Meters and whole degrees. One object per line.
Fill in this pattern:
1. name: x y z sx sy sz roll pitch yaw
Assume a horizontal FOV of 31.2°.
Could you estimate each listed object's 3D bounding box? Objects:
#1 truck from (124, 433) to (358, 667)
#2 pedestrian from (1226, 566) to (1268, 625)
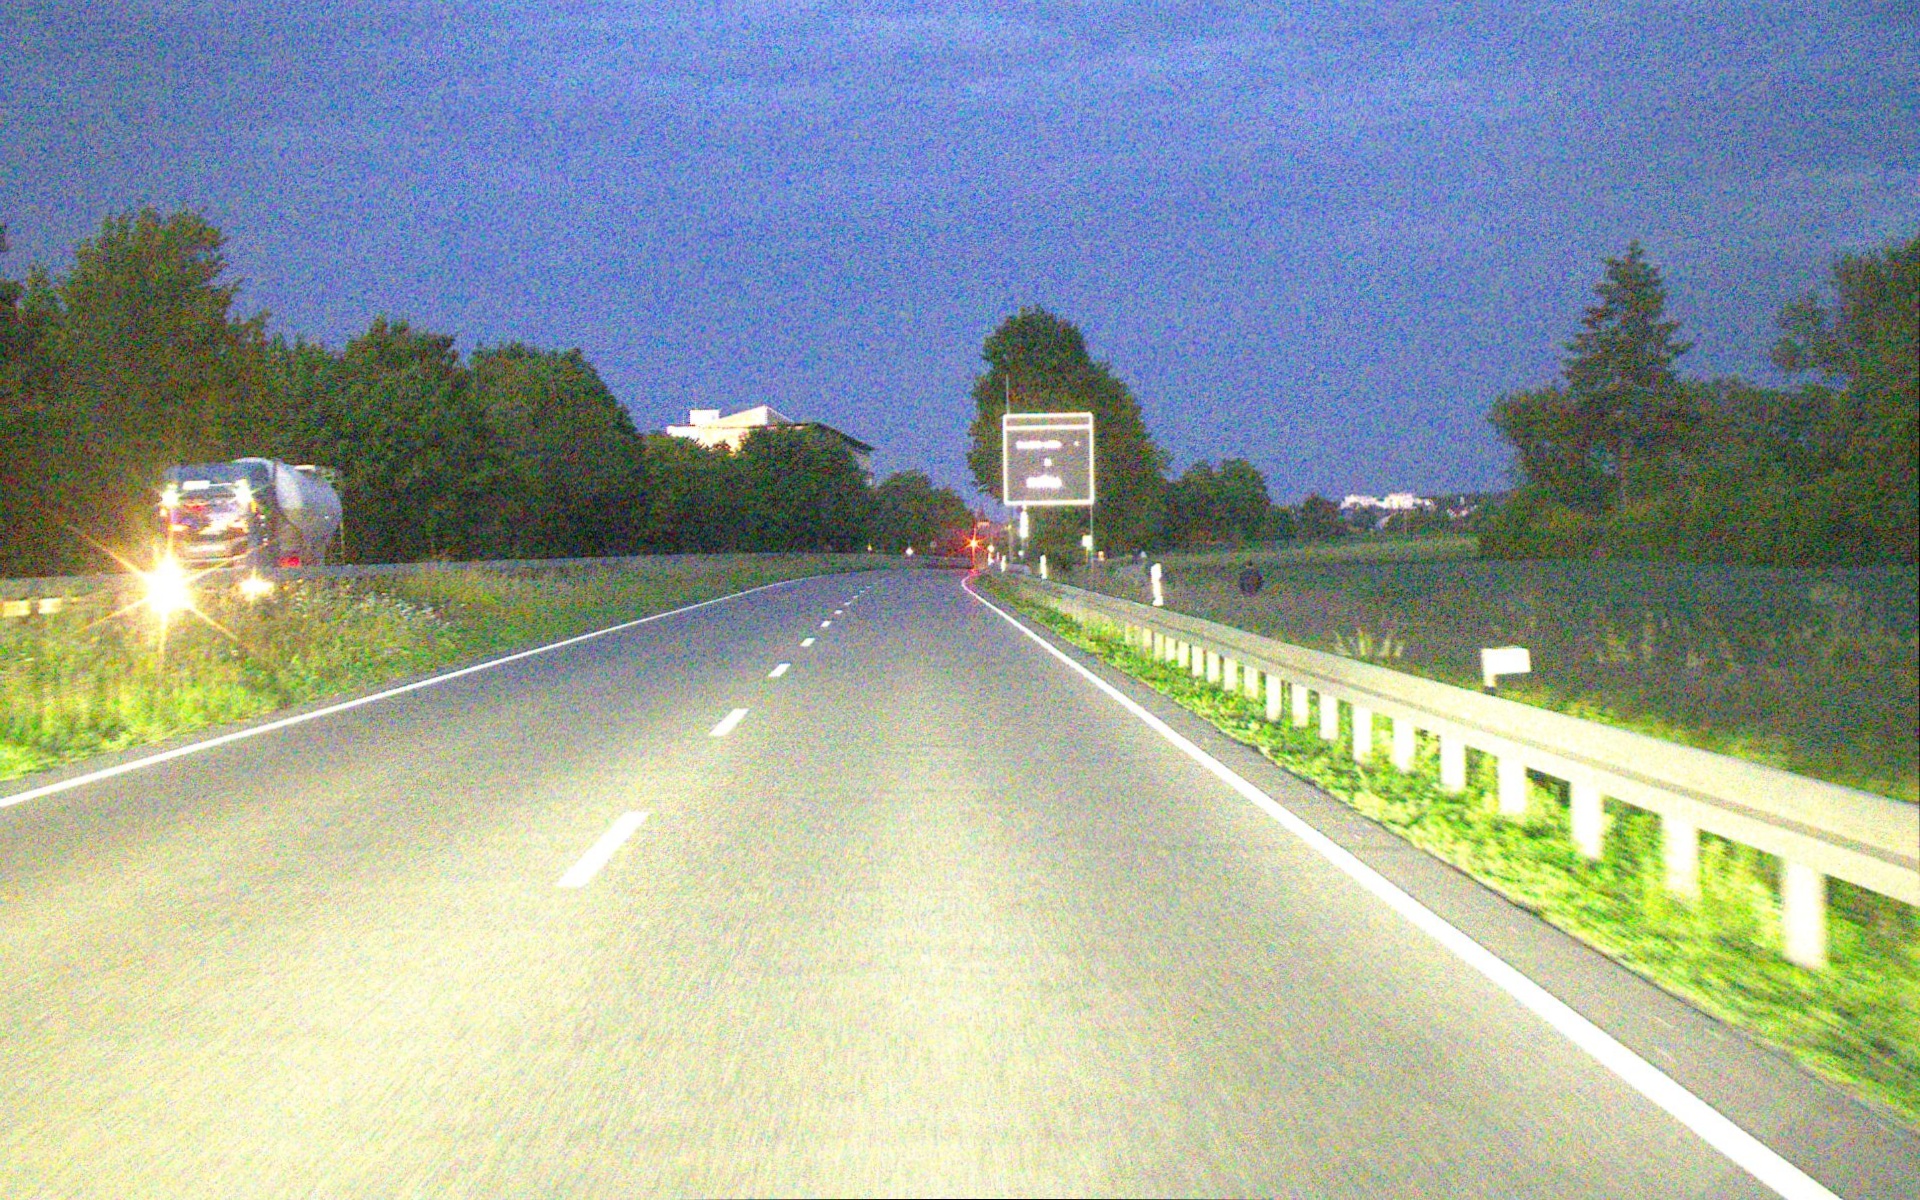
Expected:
1. truck: -17.368 -1.259 84.060 3.202 5.237 12.610 -1 1 -1
2. pedestrian: 7.985 -0.124 95.794 1.062 1.637 1.118 1 1 0
